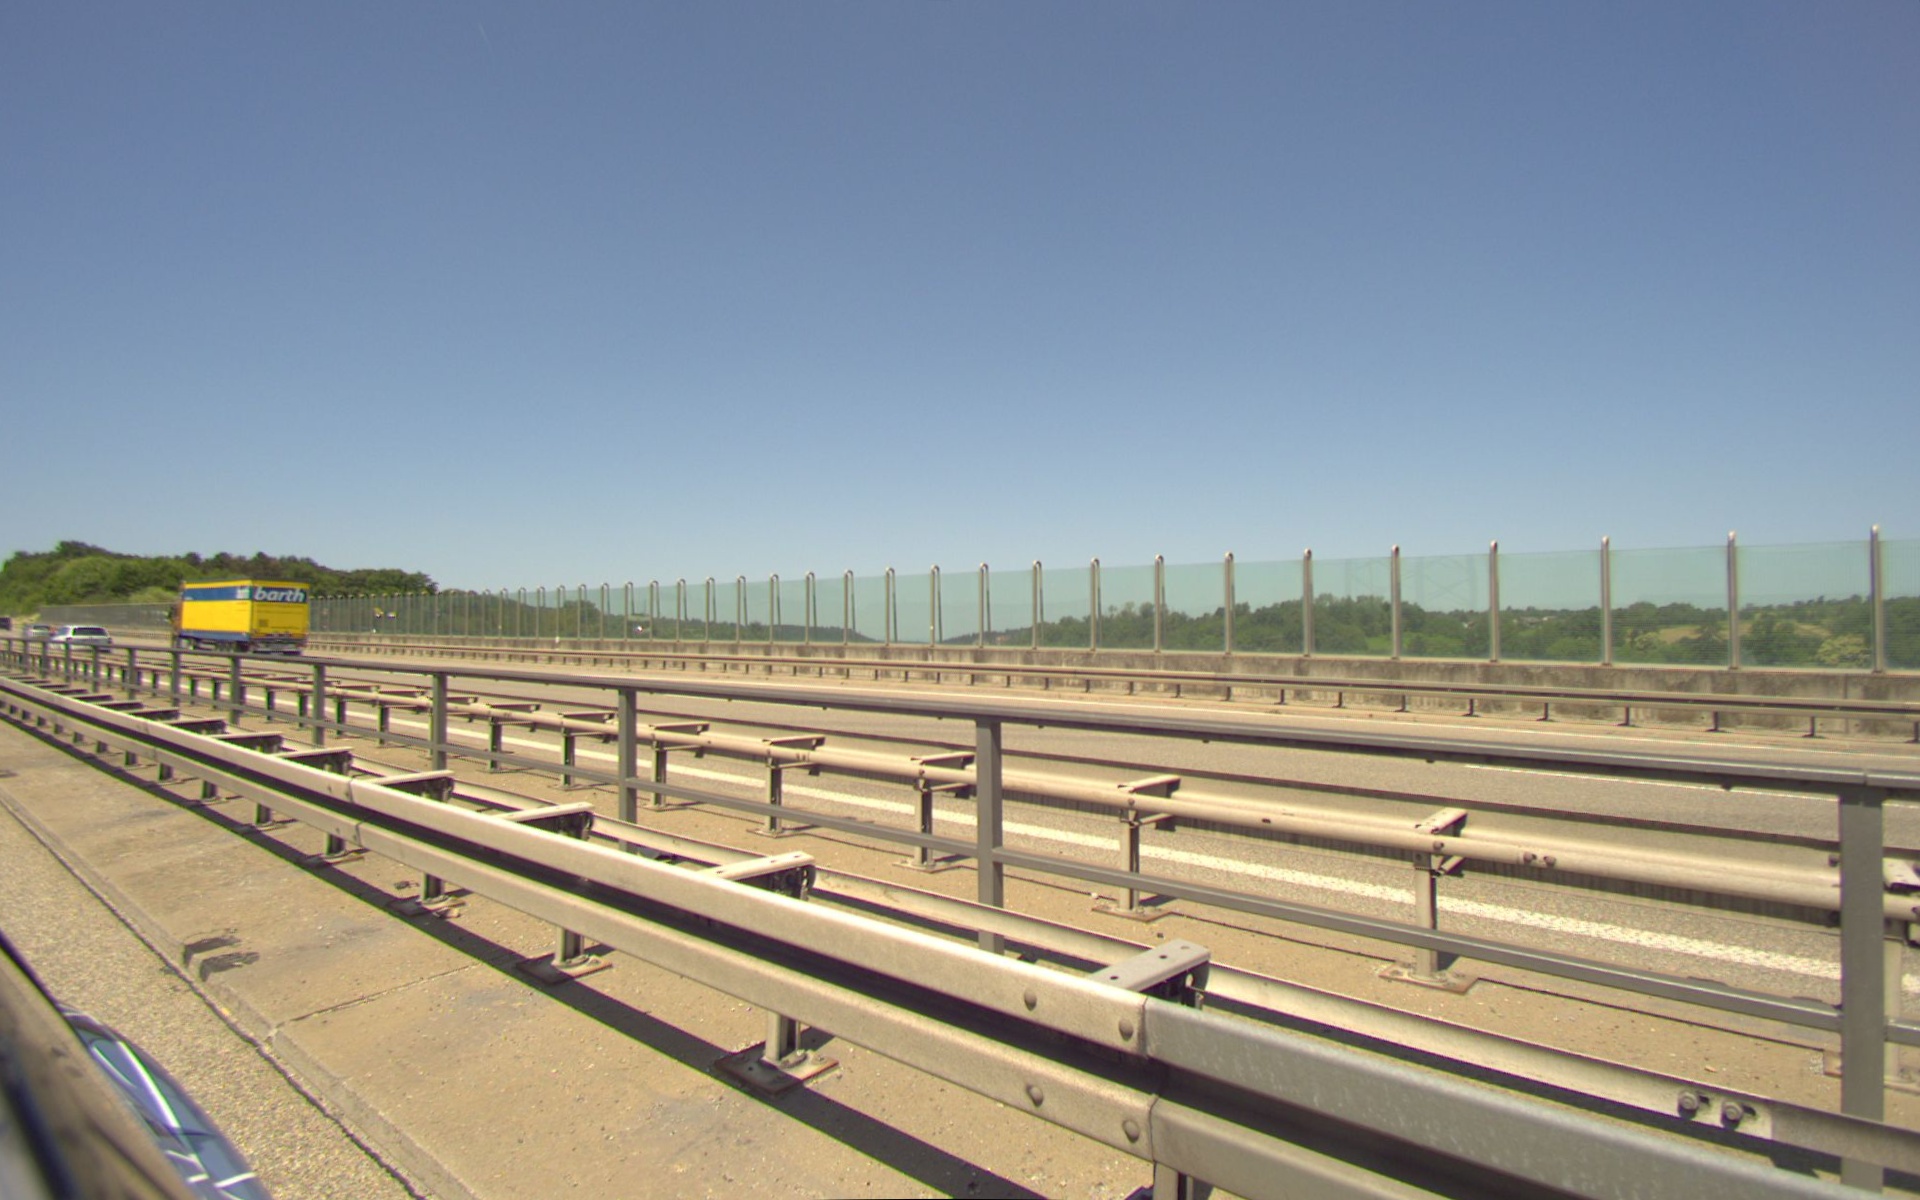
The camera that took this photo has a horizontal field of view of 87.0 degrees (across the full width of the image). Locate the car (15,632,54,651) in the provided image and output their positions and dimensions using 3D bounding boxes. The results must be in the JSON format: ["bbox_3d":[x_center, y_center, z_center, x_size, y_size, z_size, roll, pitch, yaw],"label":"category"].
[{"bbox_3d":[-72.324,3.240,79.065,4.075,1.392,1.744,-1,-3,40],"label":"car"}]

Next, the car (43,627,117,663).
[{"bbox_3d":[-37.879,1.927,43.512,4.284,1.460,1.739,-1,-3,40],"label":"car"}]

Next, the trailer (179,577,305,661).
[{"bbox_3d":[-39.239,1.097,54.967,13.795,4.095,2.397,-2,-3,41],"label":"trailer"}]

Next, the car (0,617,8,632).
[{"bbox_3d":[-135.087,3.486,141.931,3.967,2.029,1.995,-1,0,41],"label":"car"}]

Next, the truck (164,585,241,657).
[{"bbox_3d":[-44.914,1.259,59.963,5.540,4.089,2.389,-1,-3,41],"label":"truck"}]
